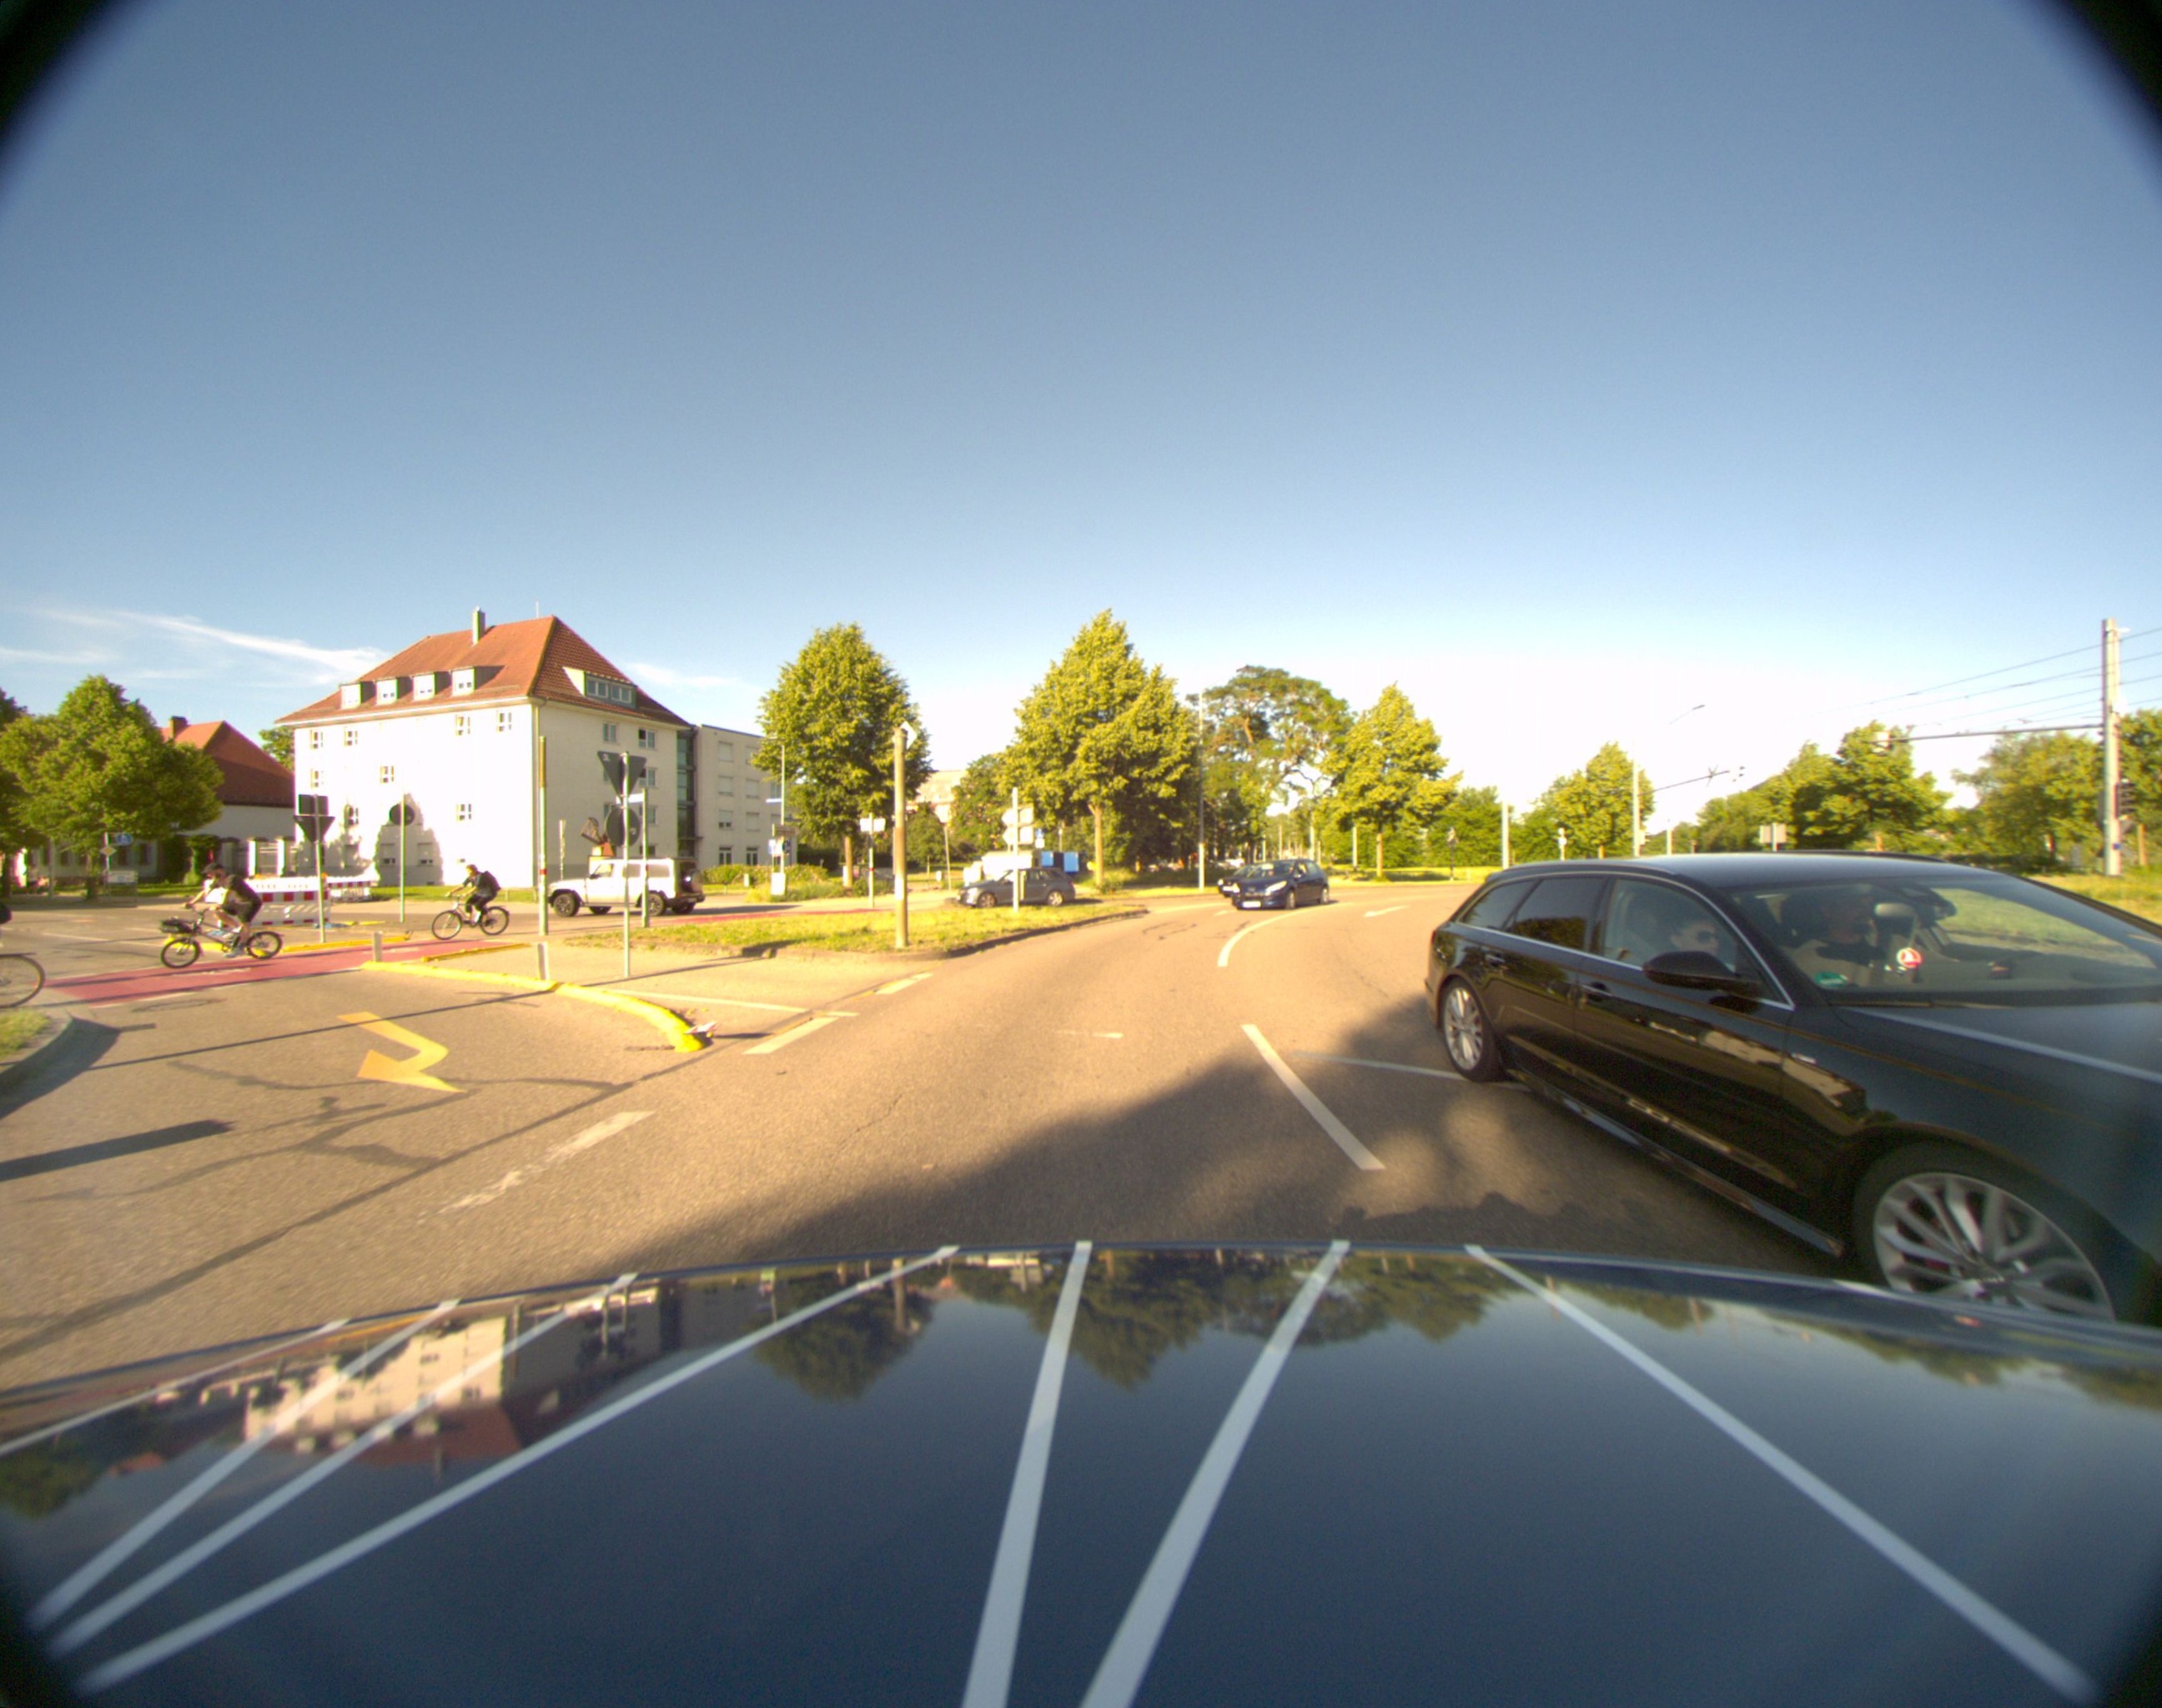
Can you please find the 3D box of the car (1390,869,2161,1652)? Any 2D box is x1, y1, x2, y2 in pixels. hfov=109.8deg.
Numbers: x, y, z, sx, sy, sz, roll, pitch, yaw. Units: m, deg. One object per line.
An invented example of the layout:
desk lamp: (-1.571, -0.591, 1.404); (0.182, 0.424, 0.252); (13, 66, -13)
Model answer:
car: (3.168, 0.864, 3.346); (1.796, 1.435, 5.018); (-2, 0, 3)

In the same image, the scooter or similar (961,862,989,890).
scooter or similar: (-4.935, 1.040, 35.363); (0.443, 1.240, 1.267); (-3, 0, 42)

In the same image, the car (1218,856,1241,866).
car: (28.090, 1.350, 144.136); (3.992, 1.745, 1.917); (-2, -1, 19)

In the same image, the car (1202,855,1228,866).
car: (22.772, 1.129, 129.113); (3.992, 1.745, 1.917); (-2, -1, 19)

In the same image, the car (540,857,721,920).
car: (-14.743, 1.096, 25.046); (4.748, 1.886, 2.004); (-1, 0, 2)

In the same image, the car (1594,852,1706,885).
car: (27.381, 0.705, 36.651); (4.066, 1.371, 1.725); (-2, -1, -2)

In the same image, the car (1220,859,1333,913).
car: (6.034, 0.910, 23.138); (1.753, 1.445, 4.008); (-2, -1, 40)

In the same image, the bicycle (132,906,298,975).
bicycle: (-15.017, 1.467, 13.251); (0.659, 1.021, 1.825); (-2, -1, 9)

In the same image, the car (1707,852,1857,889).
car: (29.953, 0.720, 32.562); (4.533, 1.371, 1.938); (-2, -1, 2)

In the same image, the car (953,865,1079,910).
car: (-2.332, 1.148, 27.256); (4.156, 1.427, 1.716); (-1, 0, -22)

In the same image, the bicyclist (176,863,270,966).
bicyclist: (-15.013, 1.041, 13.315); (0.653, 1.720, 0.813); (-1, 1, 9)

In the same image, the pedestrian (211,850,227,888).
pedestrian: (-46.151, 0.802, 40.679); (0.453, 2.002, 0.472); (0, 0, 28)

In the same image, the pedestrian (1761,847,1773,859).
pedestrian: (83.310, -0.141, 92.265); (0.795, 1.432, 0.772); (0, 1, -26)

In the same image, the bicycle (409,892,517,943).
bicycle: (-13.884, 1.401, 17.130); (0.659, 1.021, 1.826); (-2, -1, 15)

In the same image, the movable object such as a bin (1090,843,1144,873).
movable object such as a bin: (3.580, 0.422, 74.624); (5.041, 2.771, 2.002); (-2, -1, 8)

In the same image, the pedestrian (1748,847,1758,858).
pedestrian: (82.431, -0.171, 93.200); (0.795, 1.432, 0.685); (0, 1, -26)

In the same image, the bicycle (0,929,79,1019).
bicycle: (-13.456, 1.487, 8.968); (0.659, 1.021, 1.826); (-1, 0, 17)

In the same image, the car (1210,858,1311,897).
car: (7.710, 0.957, 32.412); (4.554, 1.459, 1.634); (-1, 0, -37)

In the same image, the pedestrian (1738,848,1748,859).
pedestrian: (82.098, -0.075, 94.222); (0.795, 1.432, 0.685); (0, 1, -26)

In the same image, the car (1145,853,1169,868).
car: (14.166, 1.189, 140.952); (3.992, 2.636, 2.003); (-2, -1, 19)

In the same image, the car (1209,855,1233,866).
car: (24.978, 1.228, 135.605); (3.992, 1.745, 1.917); (-2, -1, 19)

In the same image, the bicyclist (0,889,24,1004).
bicyclist: (-13.450, 1.132, 8.974); (0.659, 1.377, 0.936); (-1, 0, 17)

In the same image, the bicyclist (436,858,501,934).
bicyclist: (-13.871, 0.933, 17.235); (0.659, 1.655, 0.900); (-2, -1, 16)
